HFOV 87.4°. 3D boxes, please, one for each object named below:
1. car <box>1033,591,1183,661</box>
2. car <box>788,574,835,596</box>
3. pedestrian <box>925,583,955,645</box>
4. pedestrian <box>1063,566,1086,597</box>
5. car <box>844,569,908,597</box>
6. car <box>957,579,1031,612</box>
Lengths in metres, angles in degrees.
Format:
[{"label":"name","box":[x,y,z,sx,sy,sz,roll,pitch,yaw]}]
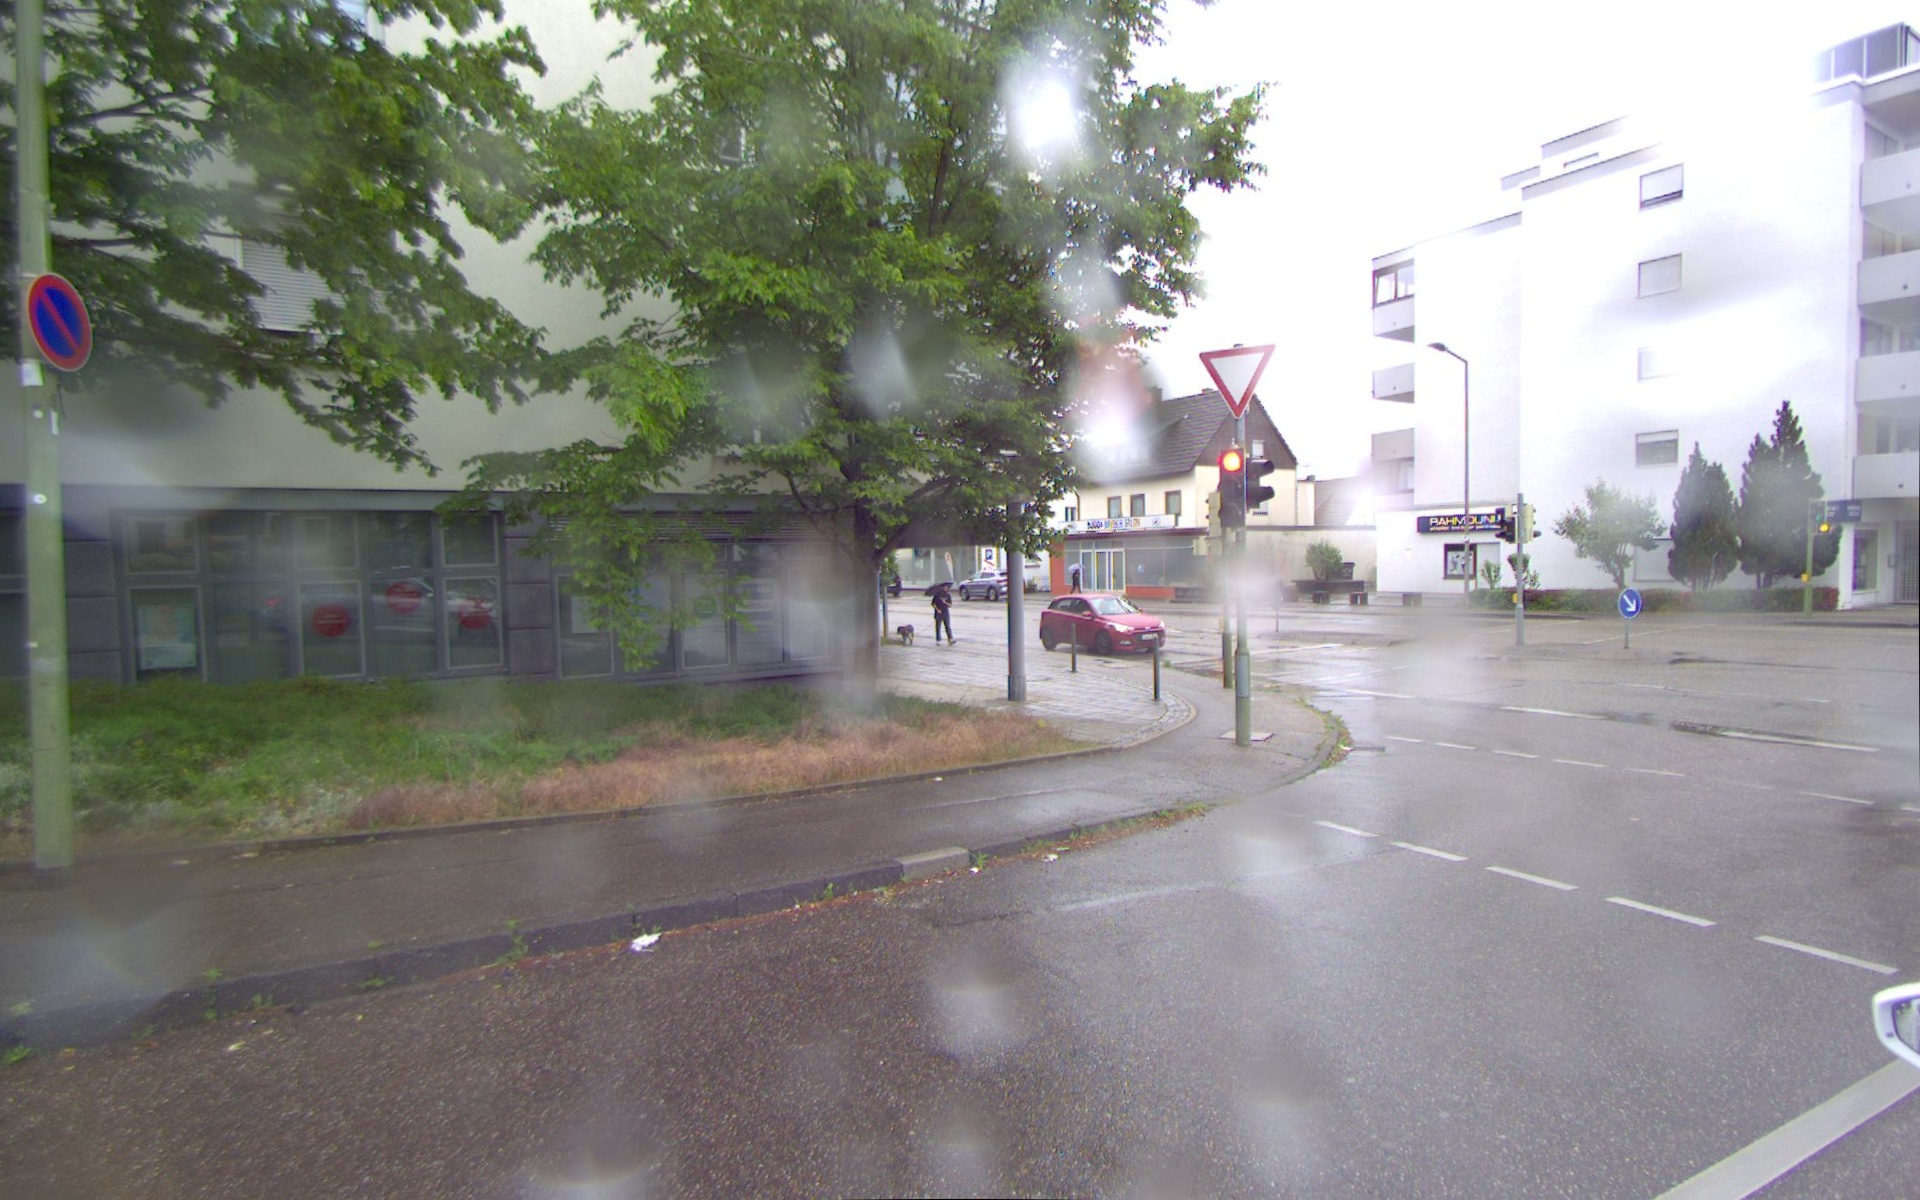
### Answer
[{"label":"car","box":[3.773,0.606,26.310,1.759,1.527,4.073,-6,3,-28]},{"label":"car","box":[-11.092,-1.120,74.859,1.803,1.468,4.162,-5,4,-35]},{"label":"pedestrian","box":[-0.564,0.381,28.311,0.657,1.725,0.945,-1,2,-11]},{"label":"pedestrian","box":[5.954,-0.967,52.257,0.746,1.589,0.985,-1,1,-30]},{"label":"car","box":[-5.640,-1.117,66.915,2.020,1.718,4.917,-6,4,-33]},{"label":"car","box":[1.877,-0.281,56.424,1.858,1.665,4.754,-5,3,-30]}]
